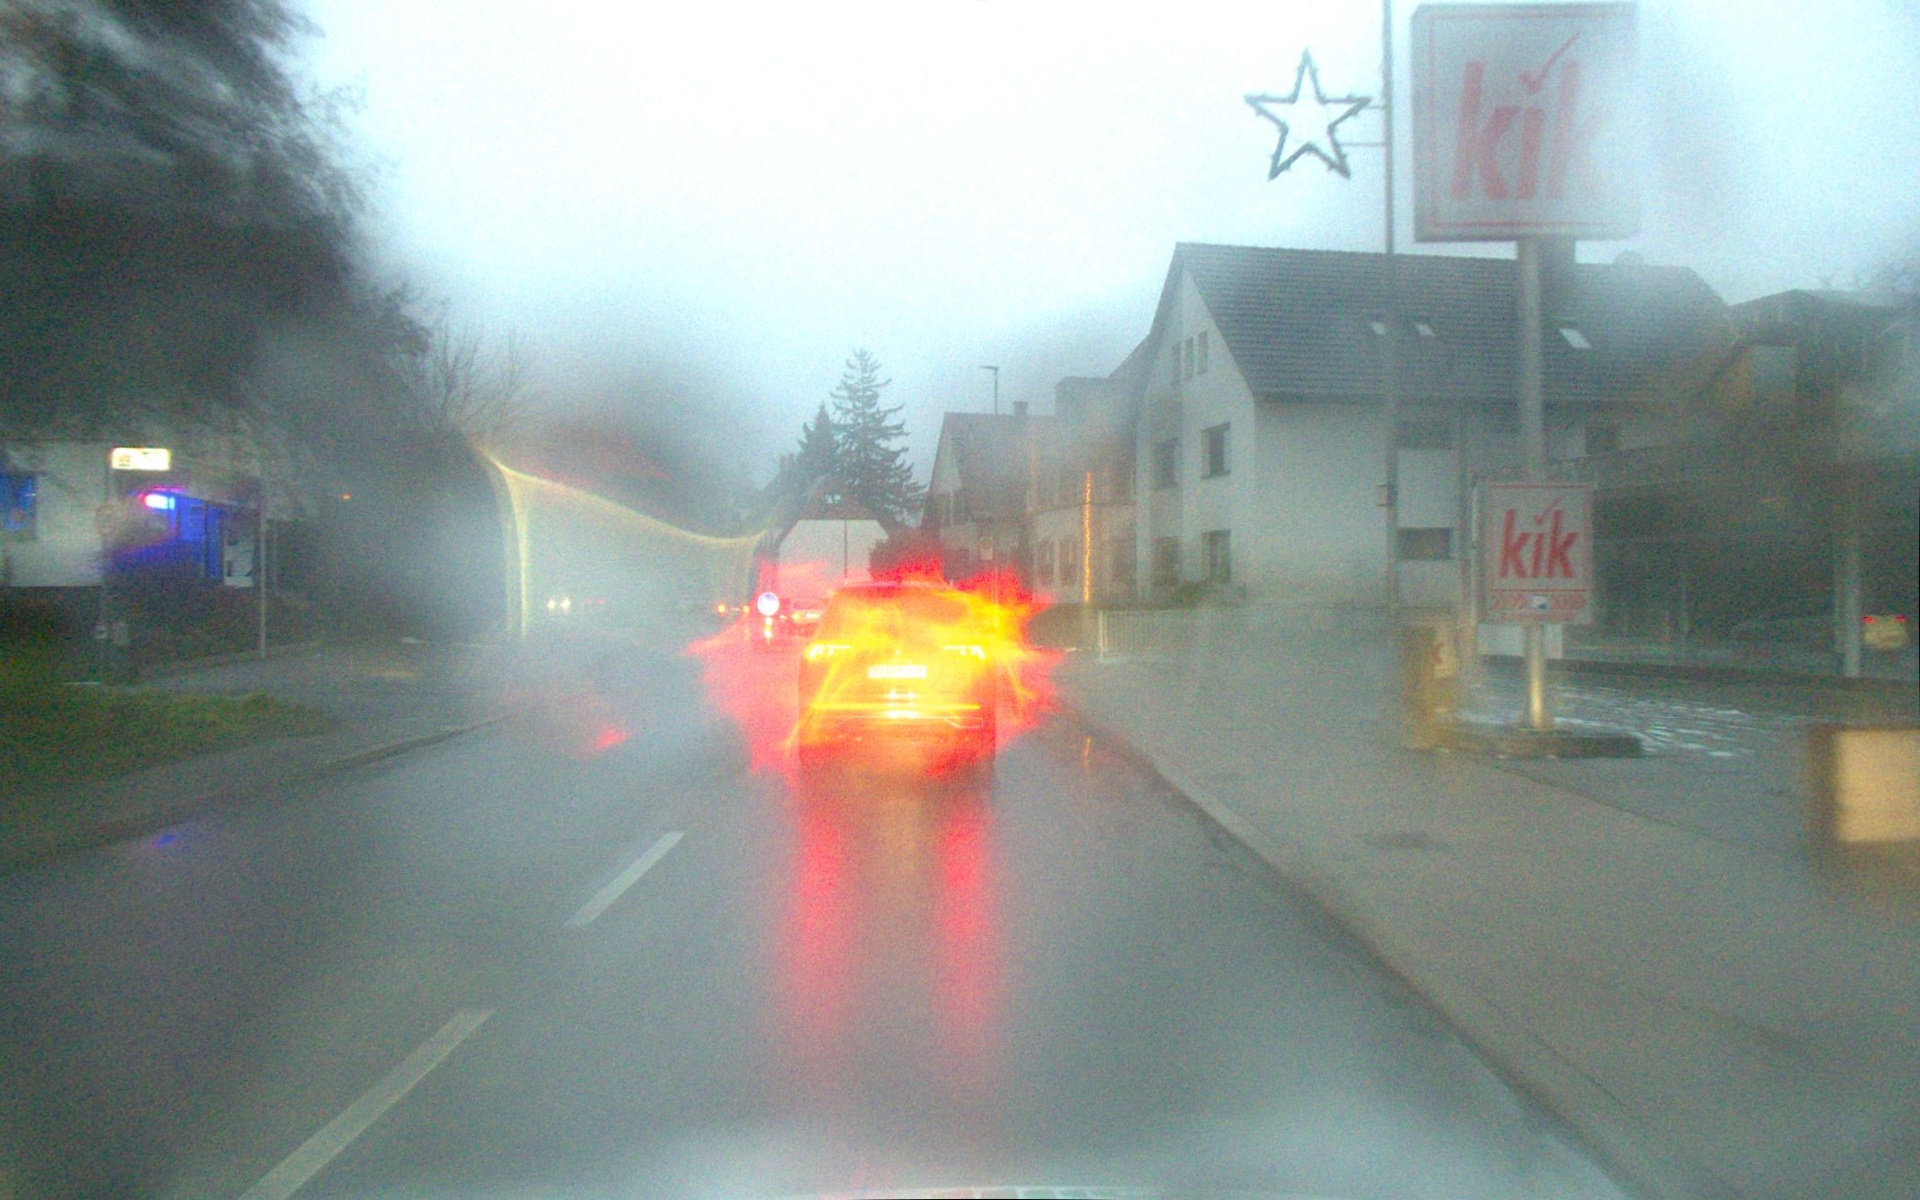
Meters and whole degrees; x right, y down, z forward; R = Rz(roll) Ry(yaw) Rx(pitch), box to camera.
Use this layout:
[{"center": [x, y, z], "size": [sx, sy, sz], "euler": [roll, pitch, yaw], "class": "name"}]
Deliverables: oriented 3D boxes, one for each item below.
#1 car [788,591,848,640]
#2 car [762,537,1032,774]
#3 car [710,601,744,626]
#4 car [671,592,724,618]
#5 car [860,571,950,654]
[{"center": [-6.019, 0.656, 69.503], "size": [2.266, 1.972, 5.009], "euler": [0, 0, -8], "class": "car"}, {"center": [-0.616, 0.484, 16.475], "size": [2.263, 1.972, 5.016], "euler": [-1, 0, -2], "class": "car"}, {"center": [-13.340, 0.774, 94.528], "size": [1.808, 1.355, 3.929], "euler": [-1, 0, -10], "class": "car"}, {"center": [-21.603, 0.383, 136.262], "size": [4.175, 2.049, 1.804], "euler": [-1, 0, -15], "class": "car"}, {"center": [-1.205, 0.236, 35.833], "size": [1.820, 1.676, 3.998], "euler": [1, 0, -2], "class": "car"}]
